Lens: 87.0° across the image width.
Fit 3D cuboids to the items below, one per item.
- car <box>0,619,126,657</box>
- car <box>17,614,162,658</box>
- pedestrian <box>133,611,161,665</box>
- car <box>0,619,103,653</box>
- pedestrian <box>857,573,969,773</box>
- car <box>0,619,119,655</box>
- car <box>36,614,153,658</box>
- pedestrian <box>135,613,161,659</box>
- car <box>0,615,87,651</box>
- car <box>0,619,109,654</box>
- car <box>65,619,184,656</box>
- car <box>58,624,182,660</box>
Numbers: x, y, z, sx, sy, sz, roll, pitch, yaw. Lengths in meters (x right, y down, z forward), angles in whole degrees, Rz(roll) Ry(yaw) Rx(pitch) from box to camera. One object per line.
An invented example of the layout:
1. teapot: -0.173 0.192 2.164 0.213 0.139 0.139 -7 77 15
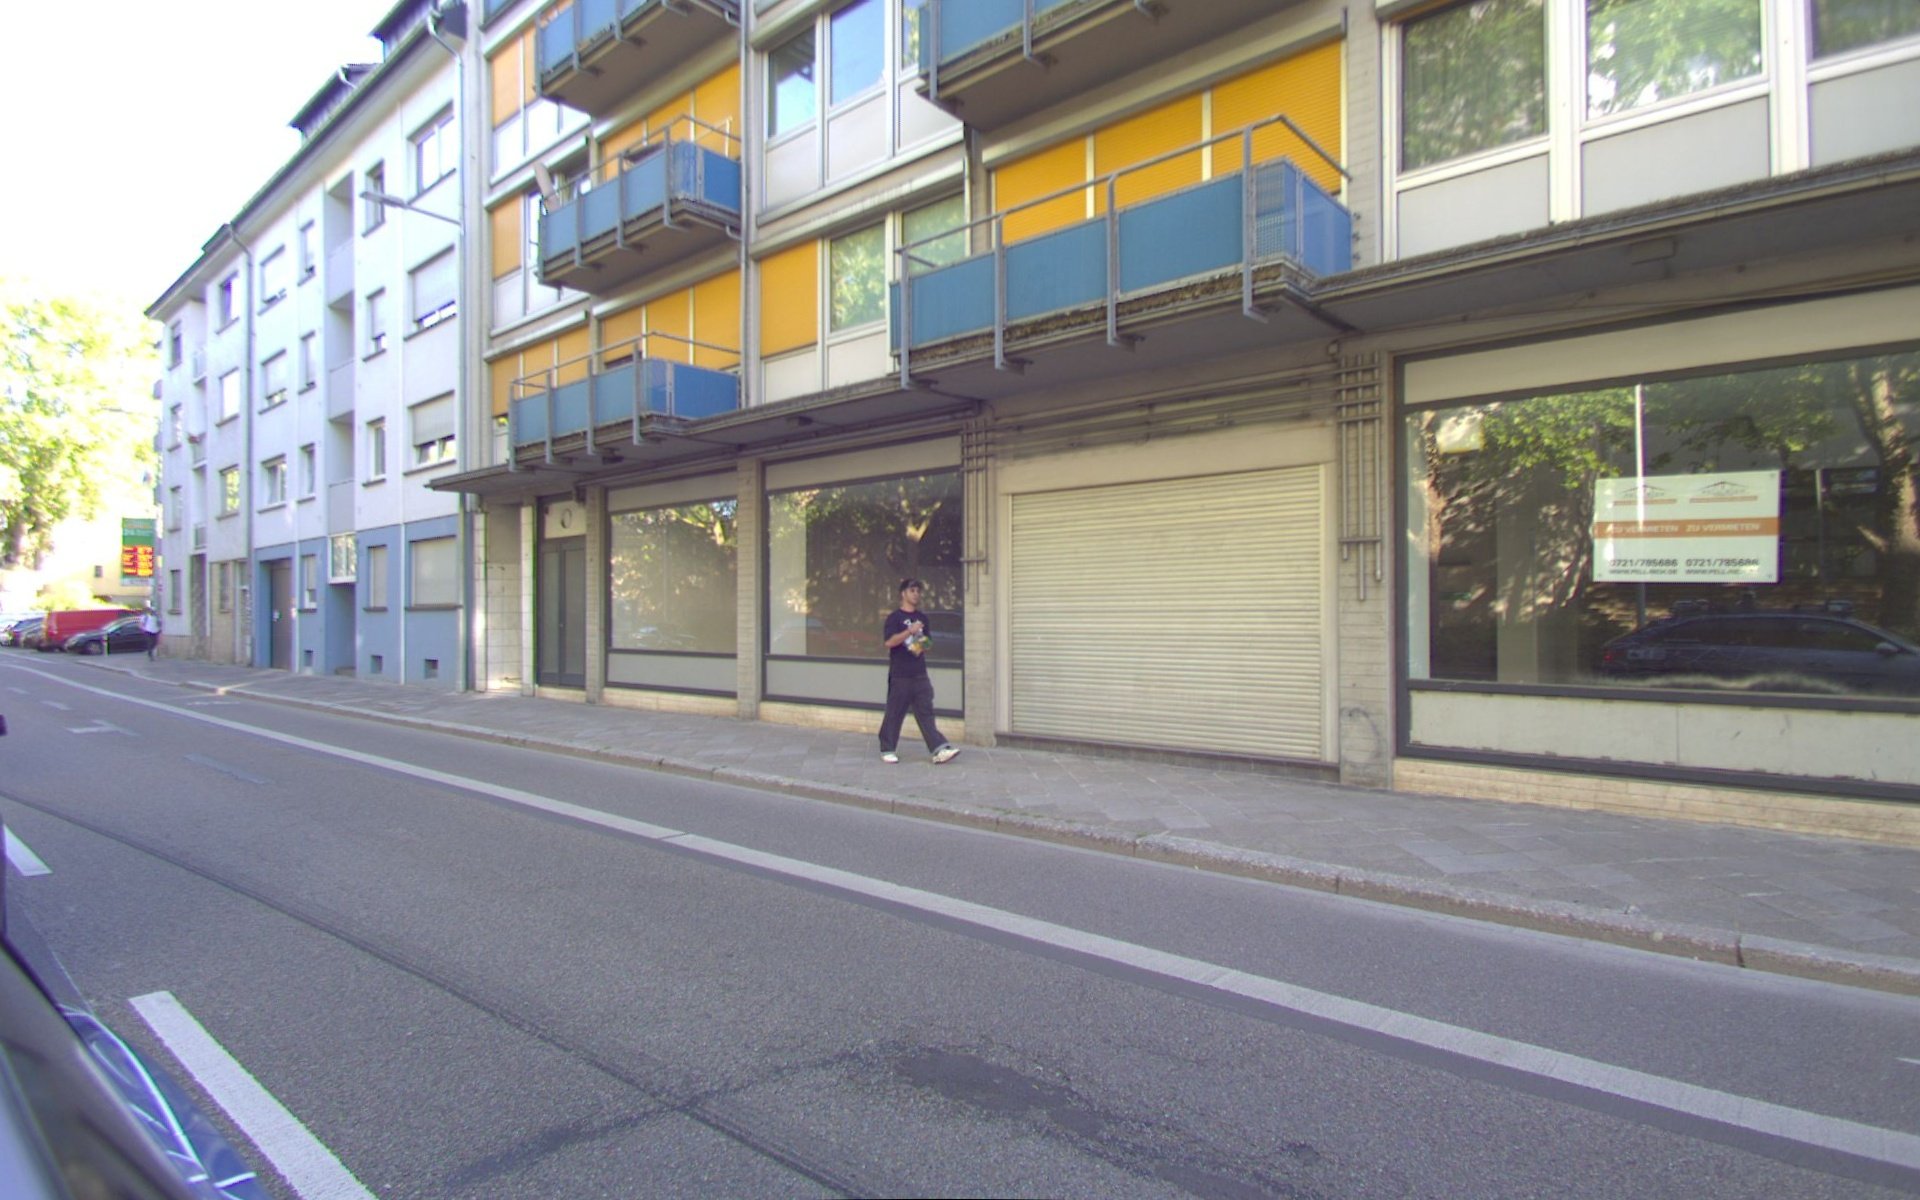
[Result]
1. car: -50.292 2.090 56.836 2.186 1.952 5.077 -1 -1 41
2. car: -42.685 1.704 49.720 2.256 1.995 5.156 -1 -1 41
3. pedestrian: -27.179 1.252 33.849 0.756 1.760 0.600 -1 0 41
4. car: -55.964 2.162 61.992 2.314 1.952 4.978 -1 -1 41
5. pedestrian: -0.442 0.652 9.529 0.793 1.785 0.655 -1 -1 41
6. car: -52.231 2.113 58.724 2.159 1.952 4.990 -1 -1 41
7. car: -40.584 1.637 47.522 1.866 1.952 3.946 -1 -1 41
8. pedestrian: -29.863 1.325 37.198 0.842 1.654 0.596 -1 0 41
9. car: -59.338 2.101 64.718 2.186 2.164 5.077 -1 -1 41
10. car: -54.117 2.134 60.361 2.082 1.952 4.928 -1 -1 41
11. car: -37.871 1.681 45.948 1.742 1.572 3.946 -1 -1 41
12. car: -36.547 1.791 44.082 1.742 1.431 3.946 -1 -1 41
